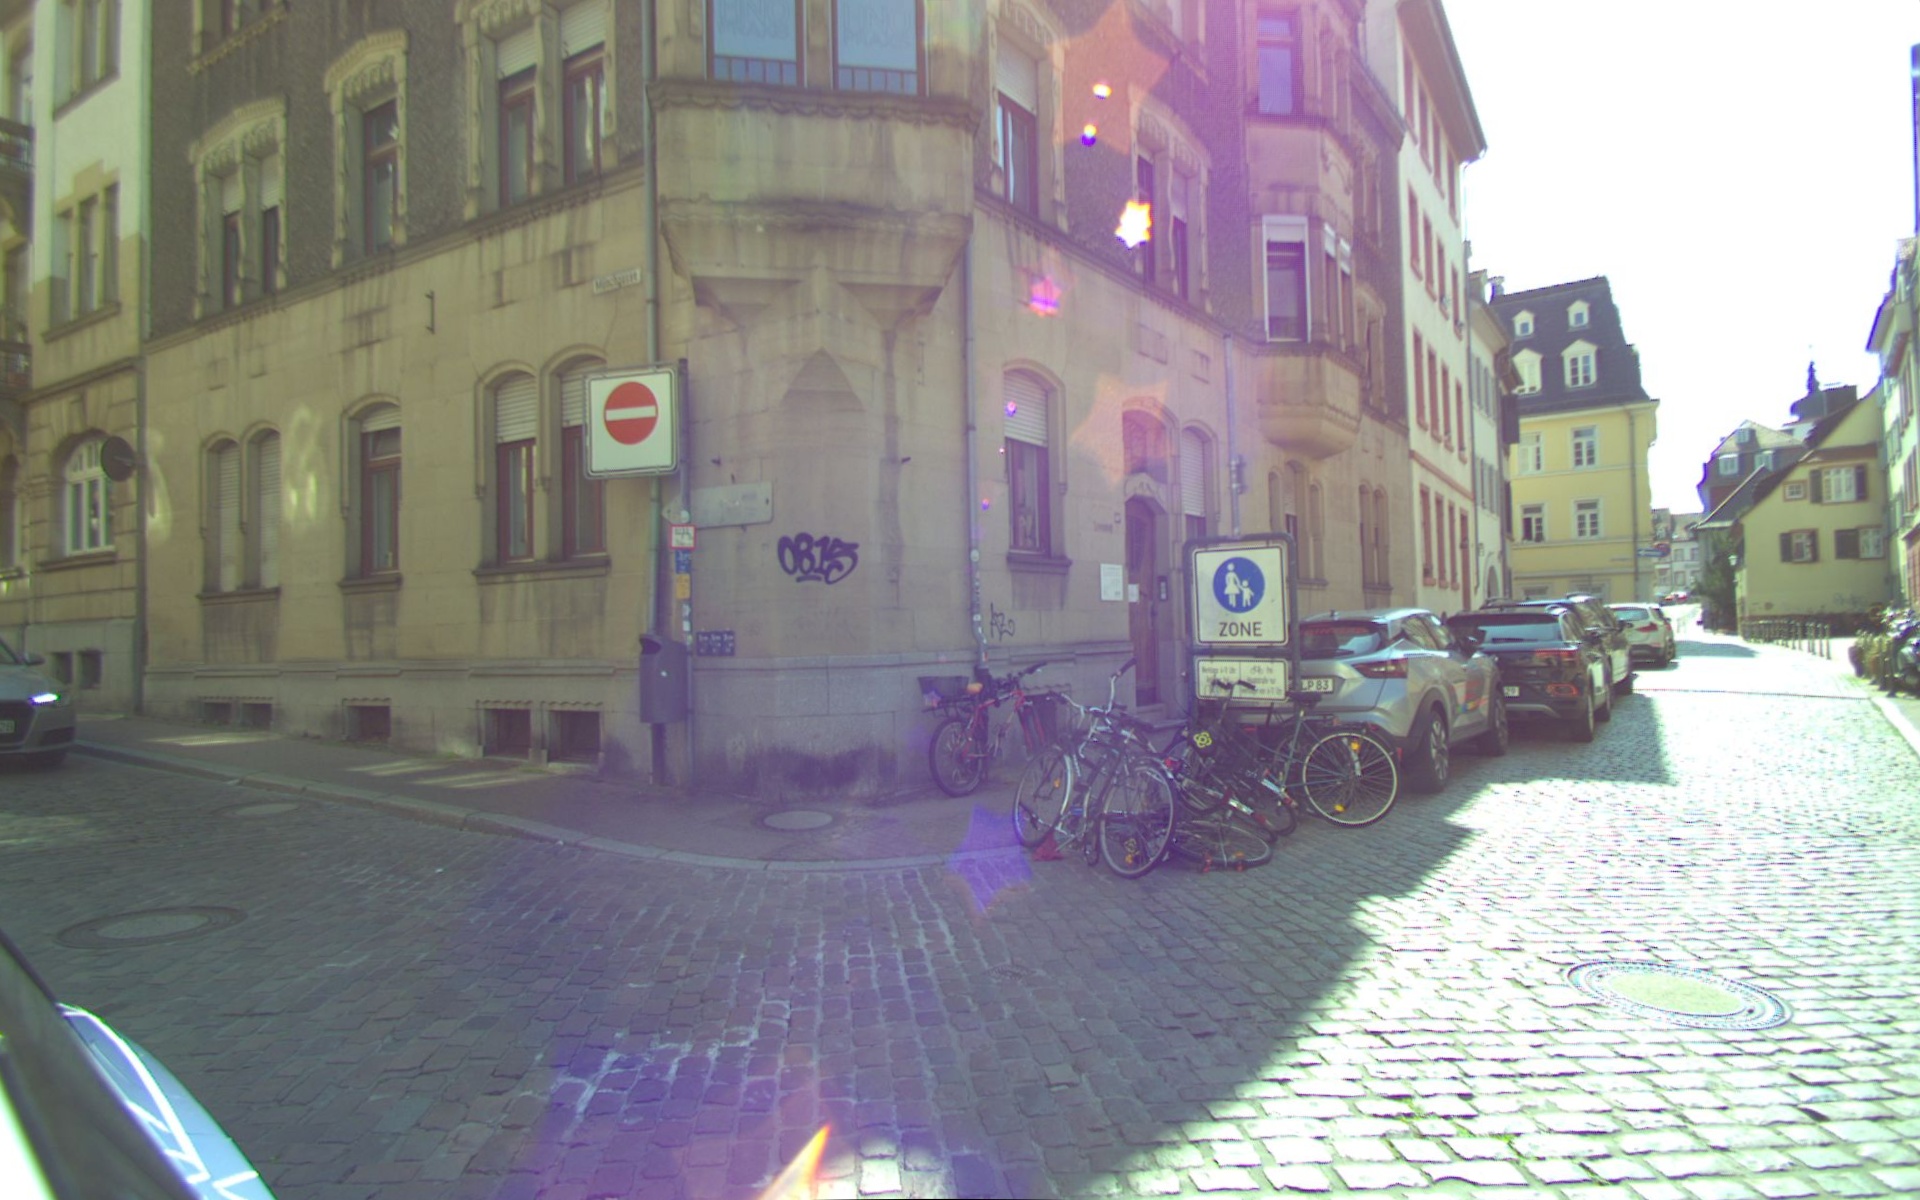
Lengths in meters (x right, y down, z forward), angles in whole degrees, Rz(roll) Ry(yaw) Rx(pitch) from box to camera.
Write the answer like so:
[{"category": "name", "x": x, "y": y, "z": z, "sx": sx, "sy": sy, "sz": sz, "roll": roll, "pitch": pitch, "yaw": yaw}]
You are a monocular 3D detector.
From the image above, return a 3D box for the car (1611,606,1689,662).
[{"category": "car", "x": 19.802, "y": 0.926, "z": 28.989, "sx": 1.567, "sy": 1.454, "sz": 3.597, "roll": -2, "pitch": 0, "yaw": 39}]

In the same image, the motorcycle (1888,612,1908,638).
[{"category": "motorcycle", "x": 34.761, "y": 0.915, "z": 37.497, "sx": 0.386, "sy": 0.953, "sz": 1.551, "roll": 0, "pitch": 0, "yaw": 37}]

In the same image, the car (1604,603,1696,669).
[{"category": "car", "x": 16.888, "y": 0.824, "z": 24.702, "sx": 1.567, "sy": 1.454, "sz": 3.597, "roll": -2, "pitch": 0, "yaw": 39}]

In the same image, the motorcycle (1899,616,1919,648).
[{"category": "motorcycle", "x": 29.260, "y": 0.979, "z": 31.161, "sx": 0.386, "sy": 0.953, "sz": 1.336, "roll": 0, "pitch": 0, "yaw": 37}]

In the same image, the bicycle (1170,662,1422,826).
[{"category": "bicycle", "x": 2.389, "y": 1.040, "z": 7.324, "sx": 1.625, "sy": 1.094, "sz": 0.285, "roll": -4, "pitch": -5, "yaw": 12}]

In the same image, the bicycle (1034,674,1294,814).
[{"category": "bicycle", "x": 1.472, "y": 1.026, "z": 7.288, "sx": 1.635, "sy": 1.080, "sz": 0.287, "roll": -1, "pitch": 42, "yaw": 29}]

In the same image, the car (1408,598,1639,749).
[{"category": "car", "x": 7.224, "y": 0.788, "z": 12.784, "sx": 1.851, "sy": 1.556, "sz": 3.947, "roll": -2, "pitch": -1, "yaw": 40}]

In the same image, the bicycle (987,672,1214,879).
[{"category": "bicycle", "x": 0.821, "y": 1.029, "z": 6.371, "sx": 0.281, "sy": 1.094, "sz": 1.646, "roll": -4, "pitch": 0, "yaw": -37}]

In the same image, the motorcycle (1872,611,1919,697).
[{"category": "motorcycle", "x": 15.125, "y": 0.818, "z": 16.064, "sx": 0.595, "sy": 1.258, "sz": 2.454, "roll": 0, "pitch": 0, "yaw": 34}]

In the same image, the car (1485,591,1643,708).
[{"category": "car", "x": 9.790, "y": 0.708, "z": 16.291, "sx": 1.567, "sy": 1.648, "sz": 3.809, "roll": -2, "pitch": -1, "yaw": 40}]

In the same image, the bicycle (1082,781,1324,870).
[{"category": "bicycle", "x": 1.582, "y": 1.446, "z": 6.644, "sx": 1.061, "sy": 0.290, "sz": 1.126, "roll": 0, "pitch": -2, "yaw": -37}]

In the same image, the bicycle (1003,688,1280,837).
[{"category": "bicycle", "x": 1.232, "y": 1.087, "z": 6.858, "sx": 1.635, "sy": 1.080, "sz": 0.287, "roll": -1, "pitch": 42, "yaw": 29}]

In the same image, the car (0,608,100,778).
[{"category": "car", "x": -10.499, "y": 0.849, "z": 9.907, "sx": 4.366, "sy": 1.503, "sz": 1.858, "roll": -1, "pitch": -1, "yaw": 31}]

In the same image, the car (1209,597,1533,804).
[{"category": "car", "x": 4.105, "y": 0.814, "z": 9.748, "sx": 1.850, "sy": 1.556, "sz": 3.878, "roll": -3, "pitch": -2, "yaw": 38}]

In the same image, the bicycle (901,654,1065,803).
[{"category": "bicycle", "x": 0.239, "y": 1.046, "z": 8.699, "sx": 0.495, "sy": 1.094, "sz": 1.621, "roll": 3, "pitch": 0, "yaw": 39}]
